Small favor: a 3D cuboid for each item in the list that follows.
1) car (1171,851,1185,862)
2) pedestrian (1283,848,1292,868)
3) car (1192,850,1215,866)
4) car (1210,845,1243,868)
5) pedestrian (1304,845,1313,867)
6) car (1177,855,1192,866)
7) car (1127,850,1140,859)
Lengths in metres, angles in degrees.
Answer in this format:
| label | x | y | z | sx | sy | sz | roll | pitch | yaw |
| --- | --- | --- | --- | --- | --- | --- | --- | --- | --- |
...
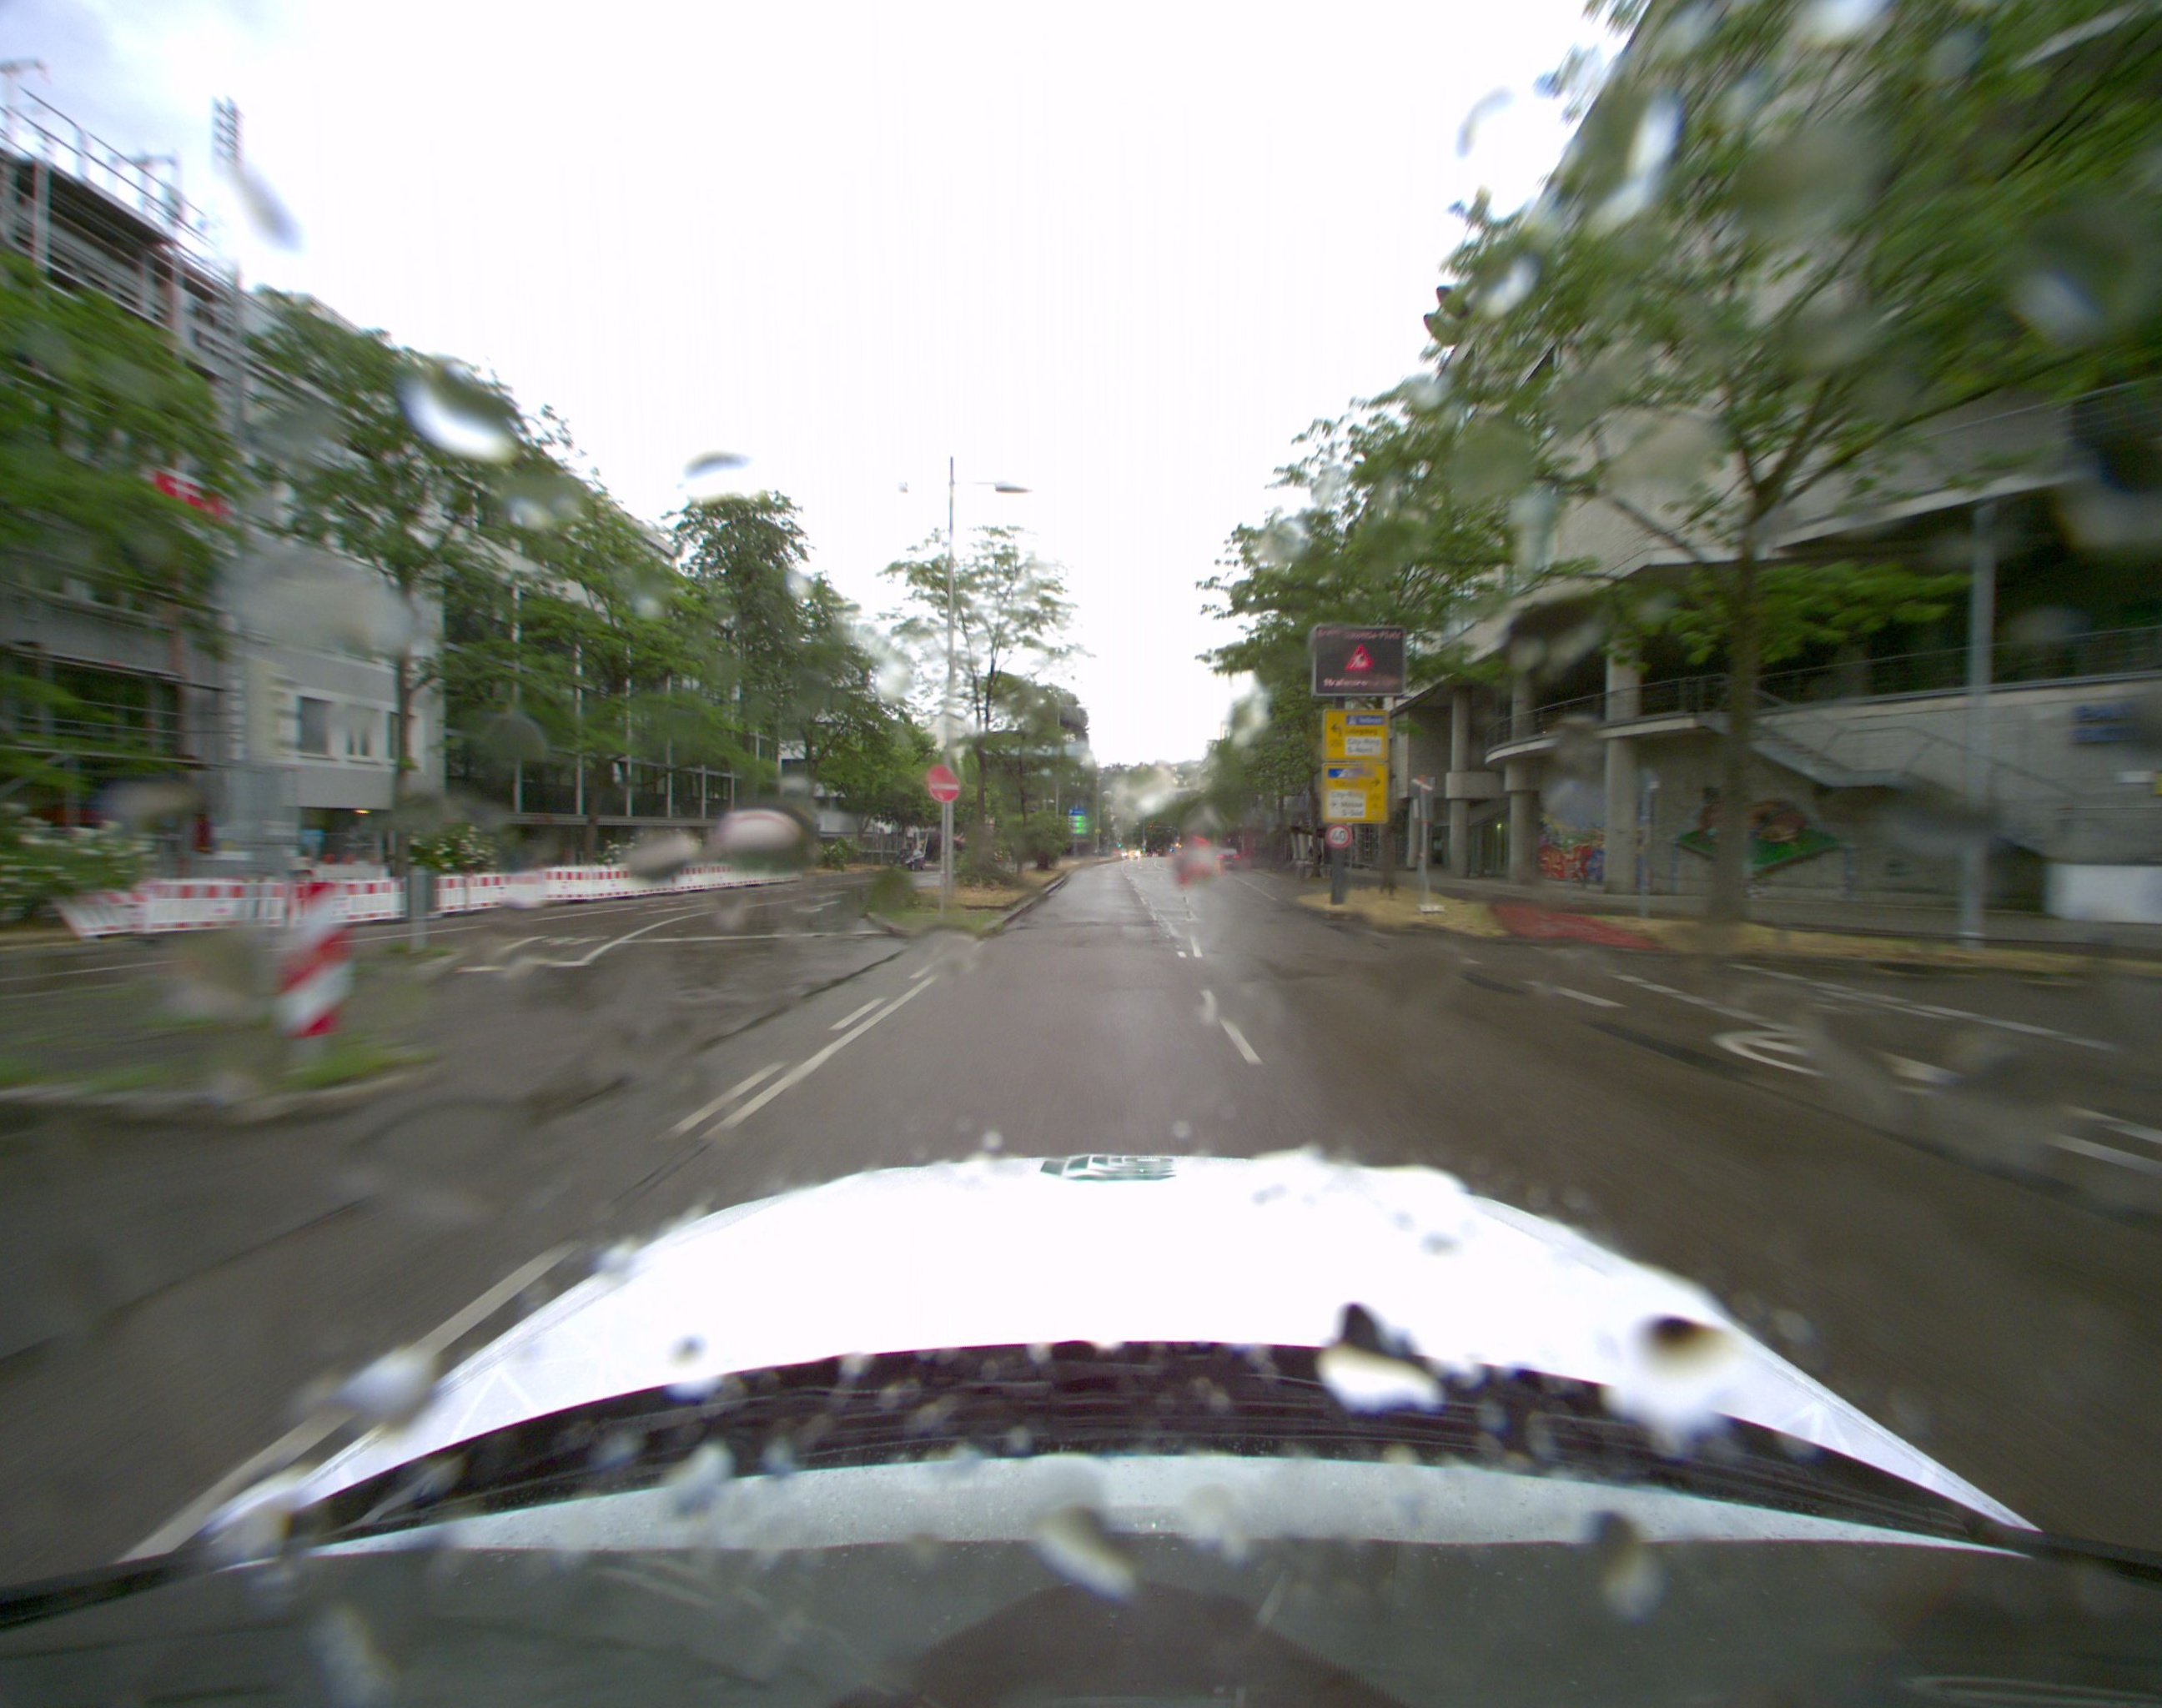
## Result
| label | x | y | z | sx | sy | sz | roll | pitch | yaw |
| --- | --- | --- | --- | --- | --- | --- | --- | --- | --- |
| car | 17.138 | 0.442 | 144.143 | 1.986 | 1.736 | 4.001 | 0 | -1 | 2 |
| pedestrian | 20.089 | 0.381 | 79.192 | 0.772 | 1.921 | 0.702 | 0 | -1 | 1 |
| car | 11.914 | 0.352 | 79.435 | 1.837 | 1.492 | 4.002 | 0 | 0 | 2 |
| car | 10.838 | 0.188 | 60.837 | 2.324 | 1.691 | 4.010 | 0 | 0 | 9 |
| pedestrian | 20.457 | 0.198 | 73.277 | 0.770 | 1.921 | 0.705 | 0 | -2 | 11 |
| car | 16.912 | 1.004 | 132.934 | 1.986 | 1.724 | 4.000 | 0 | -1 | 1 |
| car | 9.824 | 0.102 | 153.166 | 1.825 | 1.640 | 4.295 | 1 | -1 | -3 |
